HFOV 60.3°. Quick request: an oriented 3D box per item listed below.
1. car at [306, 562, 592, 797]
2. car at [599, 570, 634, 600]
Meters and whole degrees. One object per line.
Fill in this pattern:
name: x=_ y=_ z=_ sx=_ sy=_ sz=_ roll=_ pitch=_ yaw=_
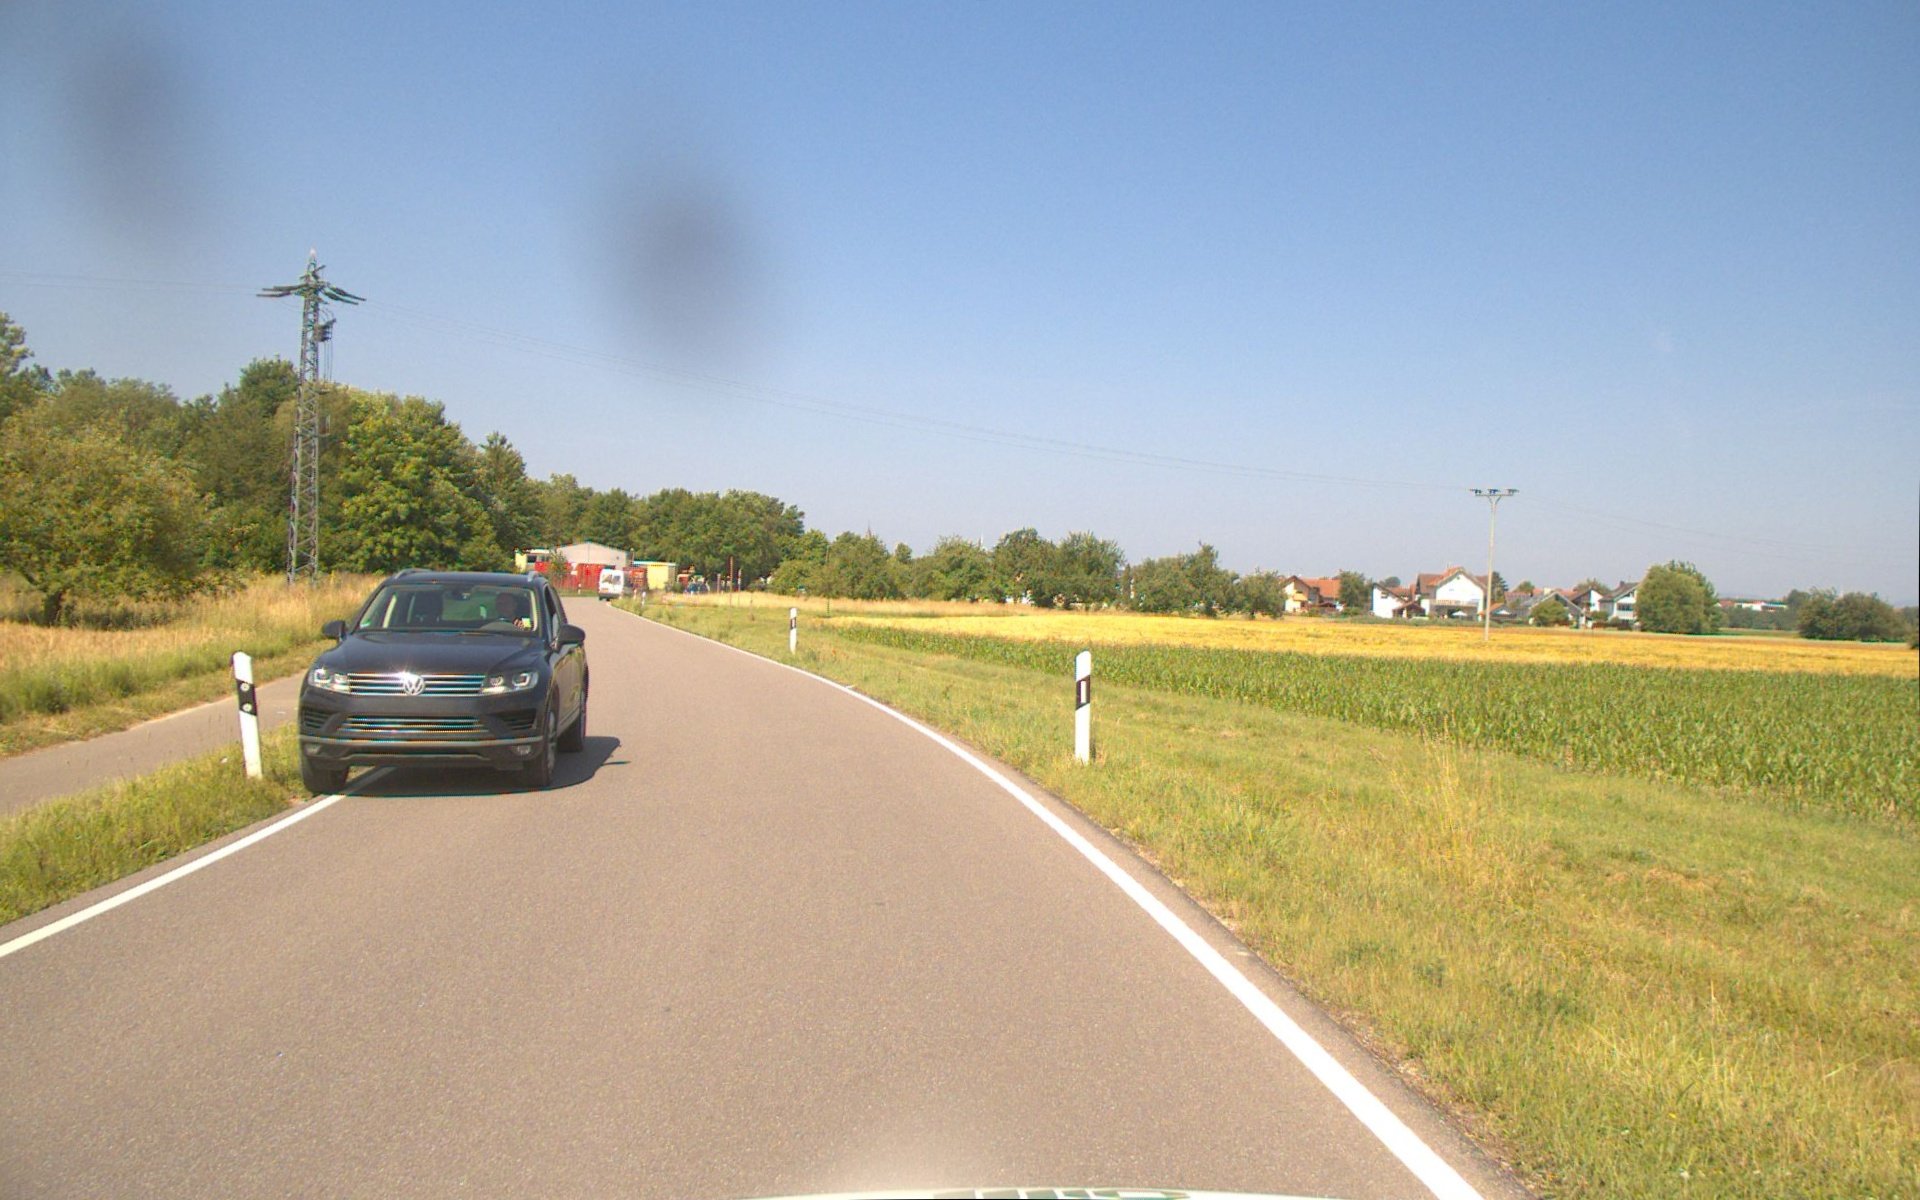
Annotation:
car: x=-4.266 y=0.587 z=14.407 sx=1.852 sy=1.744 sz=4.005 roll=1 pitch=0 yaw=-10
car: x=-27.614 y=-1.182 z=133.203 sx=1.954 sy=2.305 sz=4.723 roll=2 pitch=0 yaw=-3
